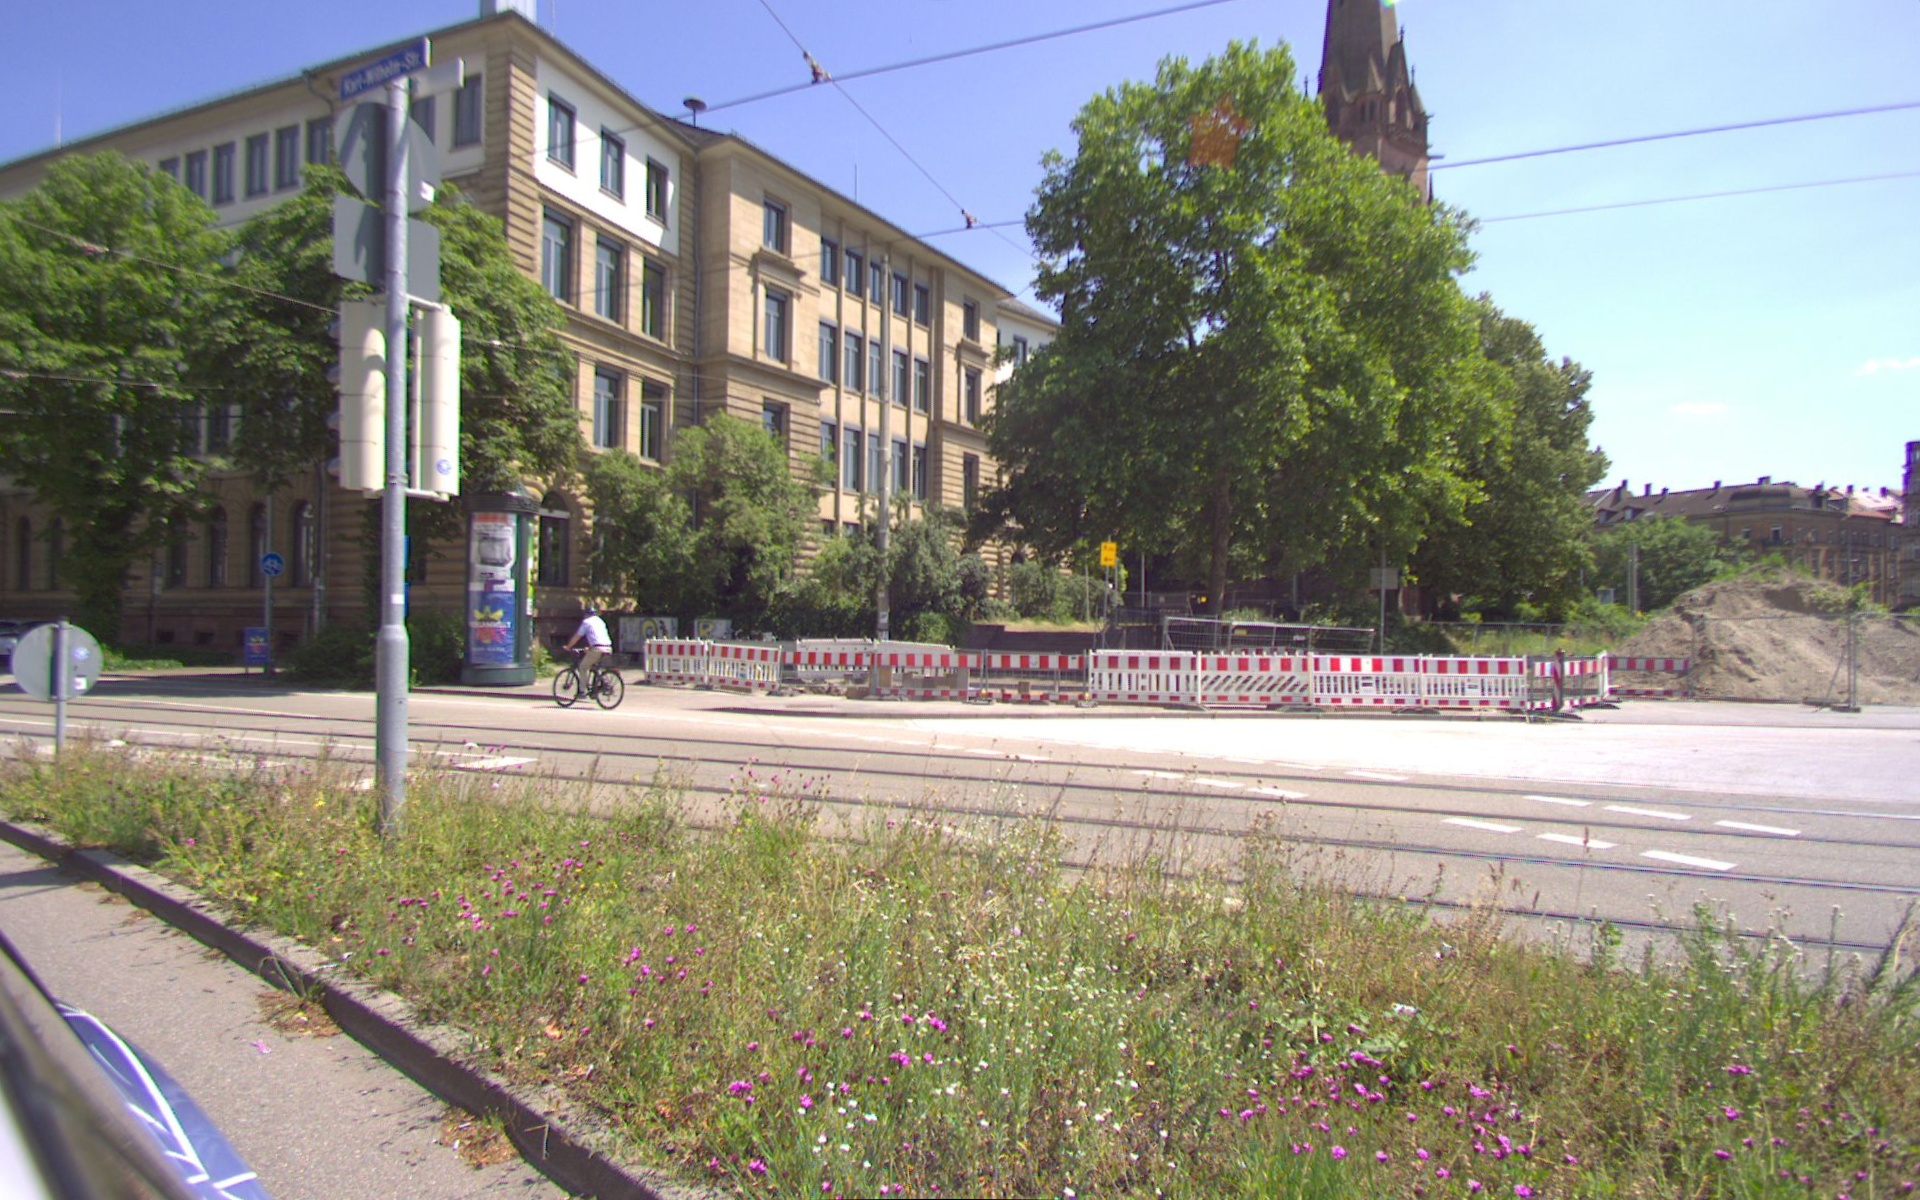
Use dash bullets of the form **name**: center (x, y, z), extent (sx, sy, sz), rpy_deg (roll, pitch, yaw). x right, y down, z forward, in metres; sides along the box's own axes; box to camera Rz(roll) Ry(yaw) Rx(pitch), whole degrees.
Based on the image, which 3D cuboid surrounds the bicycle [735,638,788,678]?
- **bicycle**: center (-5.703, 1.661, 29.166), extent (0.502, 1.111, 1.721), rpy_deg (-1, -2, 29)

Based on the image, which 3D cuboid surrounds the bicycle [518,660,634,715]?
- **bicycle**: center (-7.059, 1.581, 18.562), extent (2.357, 0.921, 0.501), rpy_deg (-1, -2, 25)

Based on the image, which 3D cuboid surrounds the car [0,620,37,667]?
- **car**: center (-32.690, 1.471, 33.247), extent (1.643, 1.531, 3.682), rpy_deg (0, 0, -6)

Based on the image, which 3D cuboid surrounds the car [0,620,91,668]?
- **car**: center (-29.998, 1.362, 32.322), extent (1.676, 1.416, 3.554), rpy_deg (0, -1, -6)

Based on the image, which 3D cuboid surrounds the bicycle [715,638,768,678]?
- **bicycle**: center (-6.358, 1.677, 29.534), extent (0.502, 1.111, 1.721), rpy_deg (-1, -2, 29)

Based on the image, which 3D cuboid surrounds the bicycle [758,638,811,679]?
- **bicycle**: center (-4.969, 1.648, 28.776), extent (0.502, 1.111, 1.721), rpy_deg (-1, -2, 29)

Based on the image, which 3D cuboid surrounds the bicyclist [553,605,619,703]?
- **bicyclist**: center (-6.822, 0.968, 18.468), extent (0.766, 1.723, 0.816), rpy_deg (-1, -2, 25)

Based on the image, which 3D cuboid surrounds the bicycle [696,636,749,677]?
- **bicycle**: center (-7.000, 1.650, 29.912), extent (0.462, 1.156, 1.669), rpy_deg (0, -1, 32)
